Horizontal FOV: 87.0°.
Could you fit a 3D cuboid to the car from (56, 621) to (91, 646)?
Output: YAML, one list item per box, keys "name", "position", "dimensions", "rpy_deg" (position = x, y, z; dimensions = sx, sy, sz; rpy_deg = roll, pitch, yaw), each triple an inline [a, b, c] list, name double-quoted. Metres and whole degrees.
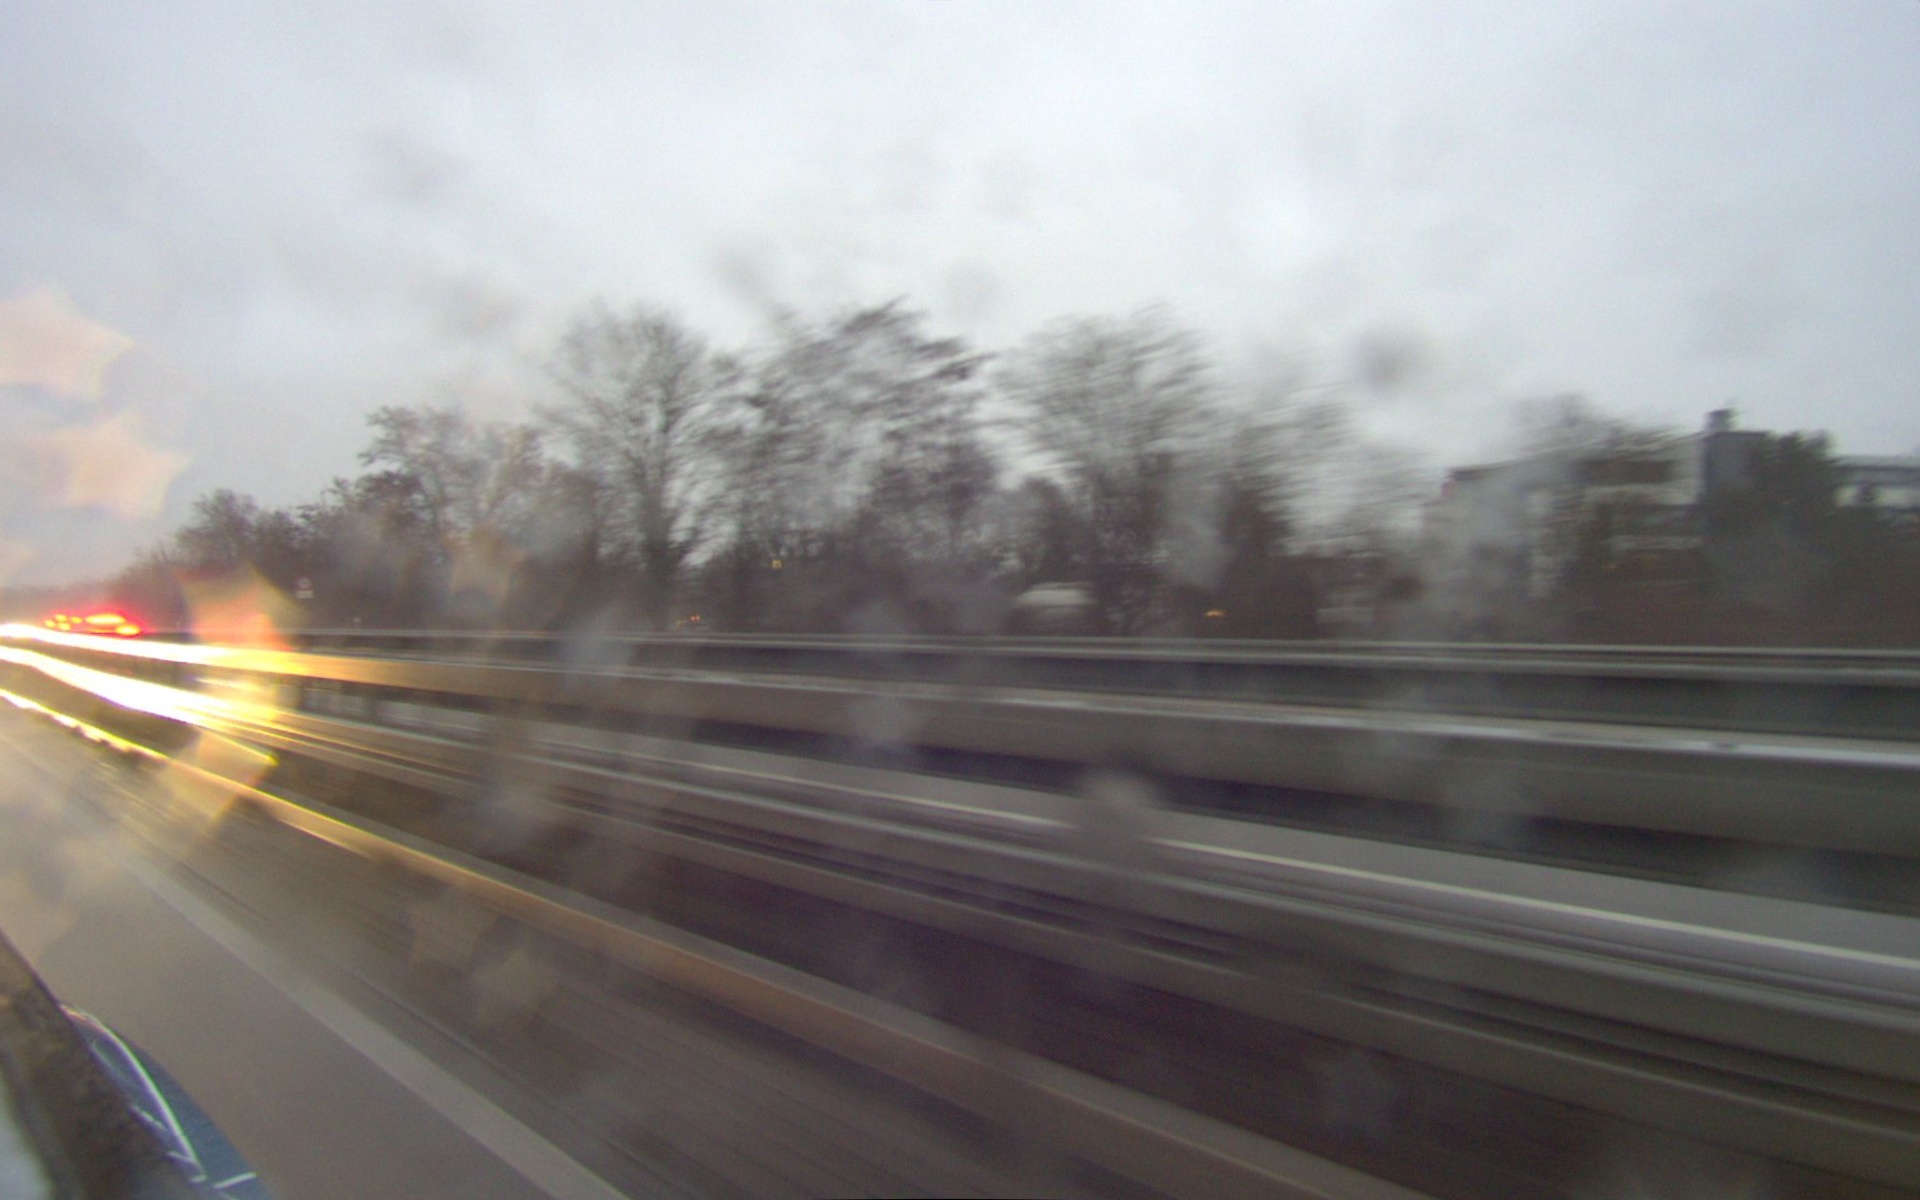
- name: "car"
  position: [-70.893, 2.645, 80.939]
  dimensions: [4.136, 1.847, 1.726]
  rpy_deg: [0, -1, 44]

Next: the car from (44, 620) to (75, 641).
- name: "car"
  position: [-91.424, 3.061, 102.801]
  dimensions: [1.909, 1.988, 4.547]
  rpy_deg: [0, -1, -36]

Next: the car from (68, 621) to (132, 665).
- name: "car"
  position: [-35.482, 1.726, 41.731]
  dimensions: [1.720, 1.652, 4.003]
  rpy_deg: [-3, 1, -44]

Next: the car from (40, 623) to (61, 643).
- name: "car"
  position: [-116.609, 4.269, 129.737]
  dimensions: [1.824, 2.455, 5.420]
  rpy_deg: [0, -1, -44]
